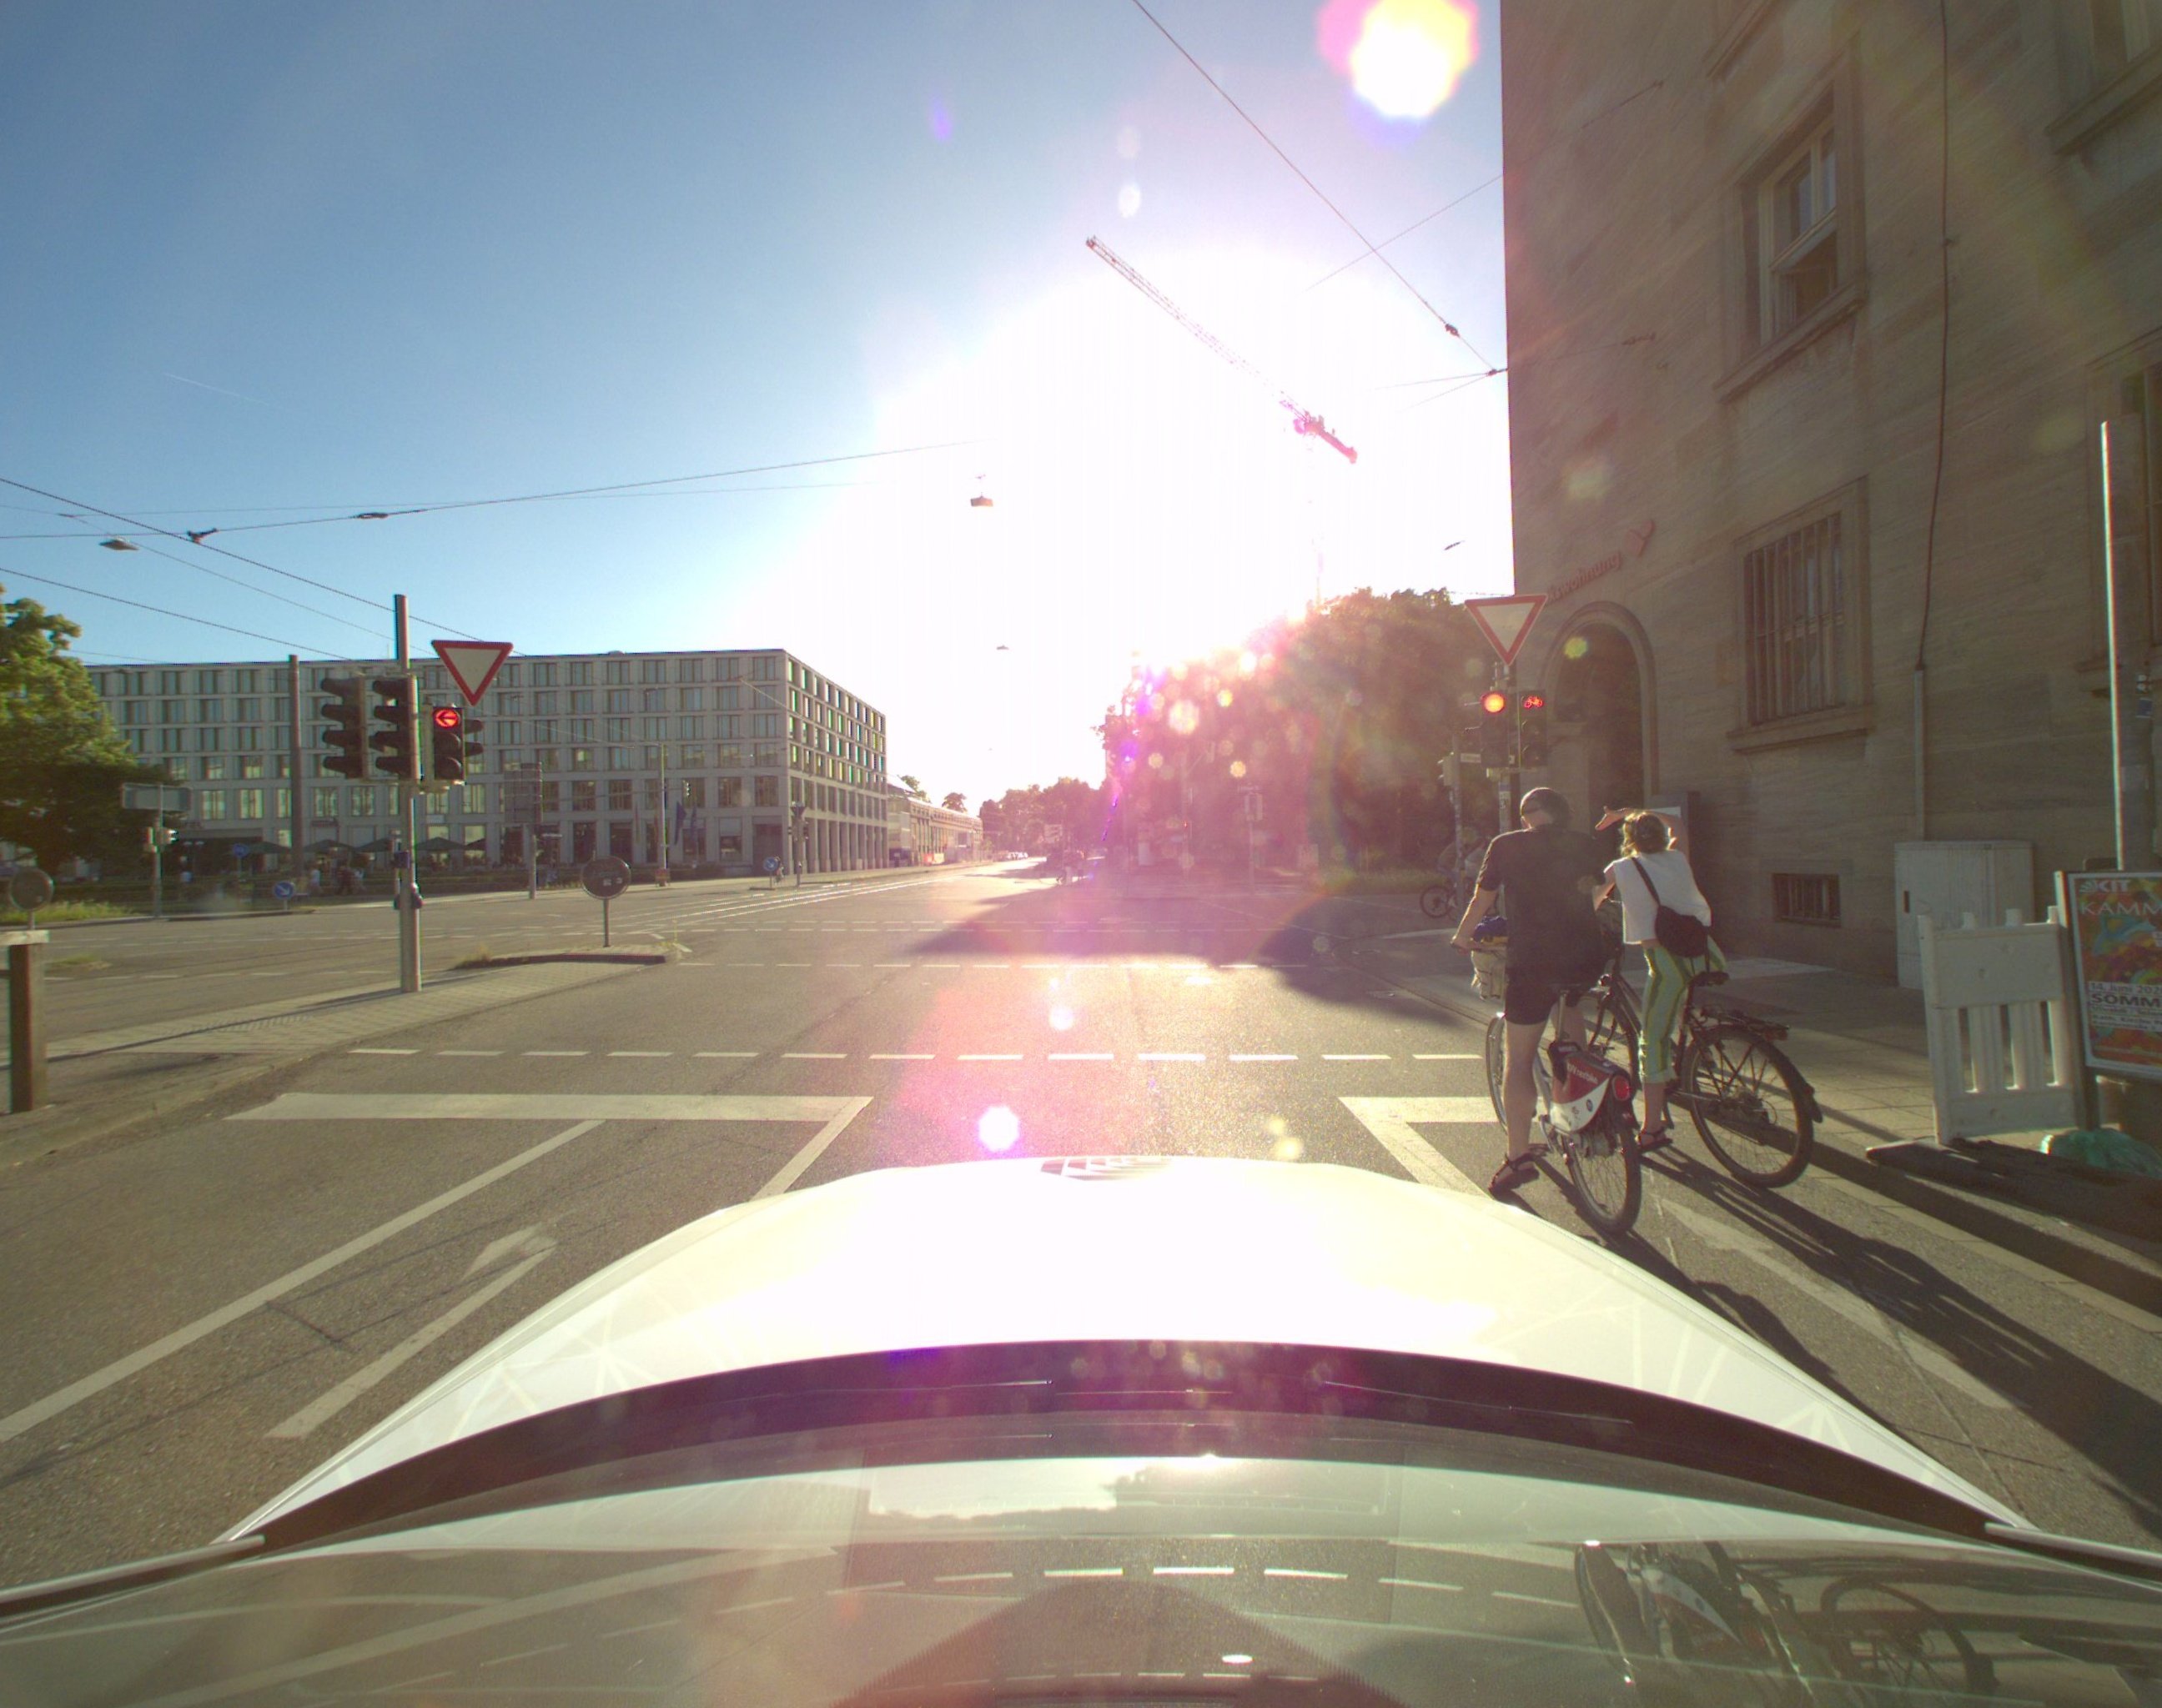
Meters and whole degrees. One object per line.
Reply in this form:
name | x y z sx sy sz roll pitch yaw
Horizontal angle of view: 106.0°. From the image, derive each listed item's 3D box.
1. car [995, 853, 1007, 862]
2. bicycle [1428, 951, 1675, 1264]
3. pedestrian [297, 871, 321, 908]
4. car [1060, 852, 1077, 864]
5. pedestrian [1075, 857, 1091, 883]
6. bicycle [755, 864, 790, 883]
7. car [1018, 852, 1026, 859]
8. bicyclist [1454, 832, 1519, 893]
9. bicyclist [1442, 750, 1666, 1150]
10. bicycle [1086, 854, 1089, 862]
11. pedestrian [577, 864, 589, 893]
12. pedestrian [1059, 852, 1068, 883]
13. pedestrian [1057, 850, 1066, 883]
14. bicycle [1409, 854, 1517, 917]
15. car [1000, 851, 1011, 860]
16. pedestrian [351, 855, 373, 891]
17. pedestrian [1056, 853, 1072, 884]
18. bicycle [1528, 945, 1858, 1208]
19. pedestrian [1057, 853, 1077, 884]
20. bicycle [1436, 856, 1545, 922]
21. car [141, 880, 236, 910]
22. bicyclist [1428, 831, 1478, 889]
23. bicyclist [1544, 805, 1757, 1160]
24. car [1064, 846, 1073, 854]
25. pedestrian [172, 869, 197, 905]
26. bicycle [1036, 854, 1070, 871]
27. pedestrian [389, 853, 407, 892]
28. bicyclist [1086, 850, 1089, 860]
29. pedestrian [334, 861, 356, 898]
car | -15.415 0.577 156.719 1.724 1.653 4.002 -2 0 2
bicycle | 2.144 1.049 3.975 0.387 0.905 1.956 -2 0 10
pedestrian | -42.318 1.927 44.640 0.528 2.013 0.800 -2 0 -5
car | -1.341 0.440 91.574 1.814 1.279 3.999 -2 0 0
pedestrian | 0.105 0.864 43.296 0.737 1.332 0.755 -2 0 4
bicycle | -19.208 1.195 50.856 0.872 1.121 3.015 -2 0 3
car | -14.042 0.332 195.008 1.478 1.750 4.002 -2 0 2
bicyclist | 8.372 0.175 16.855 0.922 1.218 0.796 -2 0 -1
bicyclist | 2.150 0.412 3.790 0.666 1.678 0.658 -2 0 8
bicycle | 0.829 0.487 98.651 0.323 0.868 1.484 -2 0 2
pedestrian | -36.001 1.769 58.850 0.606 2.013 0.391 -2 0 2
pedestrian | -0.961 0.720 44.510 0.440 1.662 0.376 -2 0 1
pedestrian | -1.067 0.674 44.829 0.358 1.804 0.508 -2 0 14
bicycle | 8.361 0.677 17.882 1.979 1.291 0.792 -2 0 0
car | -14.901 0.348 160.681 1.724 1.653 4.002 -2 0 2
pedestrian | -40.550 1.045 45.956 0.528 2.013 0.800 -2 0 -5
pedestrian | -0.907 0.773 43.969 0.792 1.639 0.534 -2 0 4
bicycle | 3.091 1.042 4.381 0.424 0.876 1.953 -2 0 5
pedestrian | -0.728 0.771 43.471 0.980 1.587 0.661 -2 -1 3
bicycle | 8.453 0.710 16.854 1.846 1.291 0.791 -2 0 -2
car | -46.831 2.135 42.778 3.178 1.438 1.469 -2 0 -4
bicyclist | 8.151 0.128 17.873 0.718 1.218 0.798 -2 0 1
bicyclist | 2.954 0.613 4.309 0.519 1.679 0.860 -2 0 5
car | -3.452 -1.070 225.473 1.986 2.013 4.002 -2 0 2
pedestrian | -48.579 1.800 44.119 0.557 1.903 0.684 -2 0 10
bicycle | -2.326 0.730 67.363 2.728 1.367 0.633 -1 -1 12
pedestrian | -40.144 1.063 47.889 0.568 2.280 0.532 -2 0 -5
bicyclist | 0.818 0.137 98.558 0.317 1.127 0.291 -2 0 1
pedestrian | -41.041 1.434 45.420 0.528 2.013 0.800 -2 0 -5
